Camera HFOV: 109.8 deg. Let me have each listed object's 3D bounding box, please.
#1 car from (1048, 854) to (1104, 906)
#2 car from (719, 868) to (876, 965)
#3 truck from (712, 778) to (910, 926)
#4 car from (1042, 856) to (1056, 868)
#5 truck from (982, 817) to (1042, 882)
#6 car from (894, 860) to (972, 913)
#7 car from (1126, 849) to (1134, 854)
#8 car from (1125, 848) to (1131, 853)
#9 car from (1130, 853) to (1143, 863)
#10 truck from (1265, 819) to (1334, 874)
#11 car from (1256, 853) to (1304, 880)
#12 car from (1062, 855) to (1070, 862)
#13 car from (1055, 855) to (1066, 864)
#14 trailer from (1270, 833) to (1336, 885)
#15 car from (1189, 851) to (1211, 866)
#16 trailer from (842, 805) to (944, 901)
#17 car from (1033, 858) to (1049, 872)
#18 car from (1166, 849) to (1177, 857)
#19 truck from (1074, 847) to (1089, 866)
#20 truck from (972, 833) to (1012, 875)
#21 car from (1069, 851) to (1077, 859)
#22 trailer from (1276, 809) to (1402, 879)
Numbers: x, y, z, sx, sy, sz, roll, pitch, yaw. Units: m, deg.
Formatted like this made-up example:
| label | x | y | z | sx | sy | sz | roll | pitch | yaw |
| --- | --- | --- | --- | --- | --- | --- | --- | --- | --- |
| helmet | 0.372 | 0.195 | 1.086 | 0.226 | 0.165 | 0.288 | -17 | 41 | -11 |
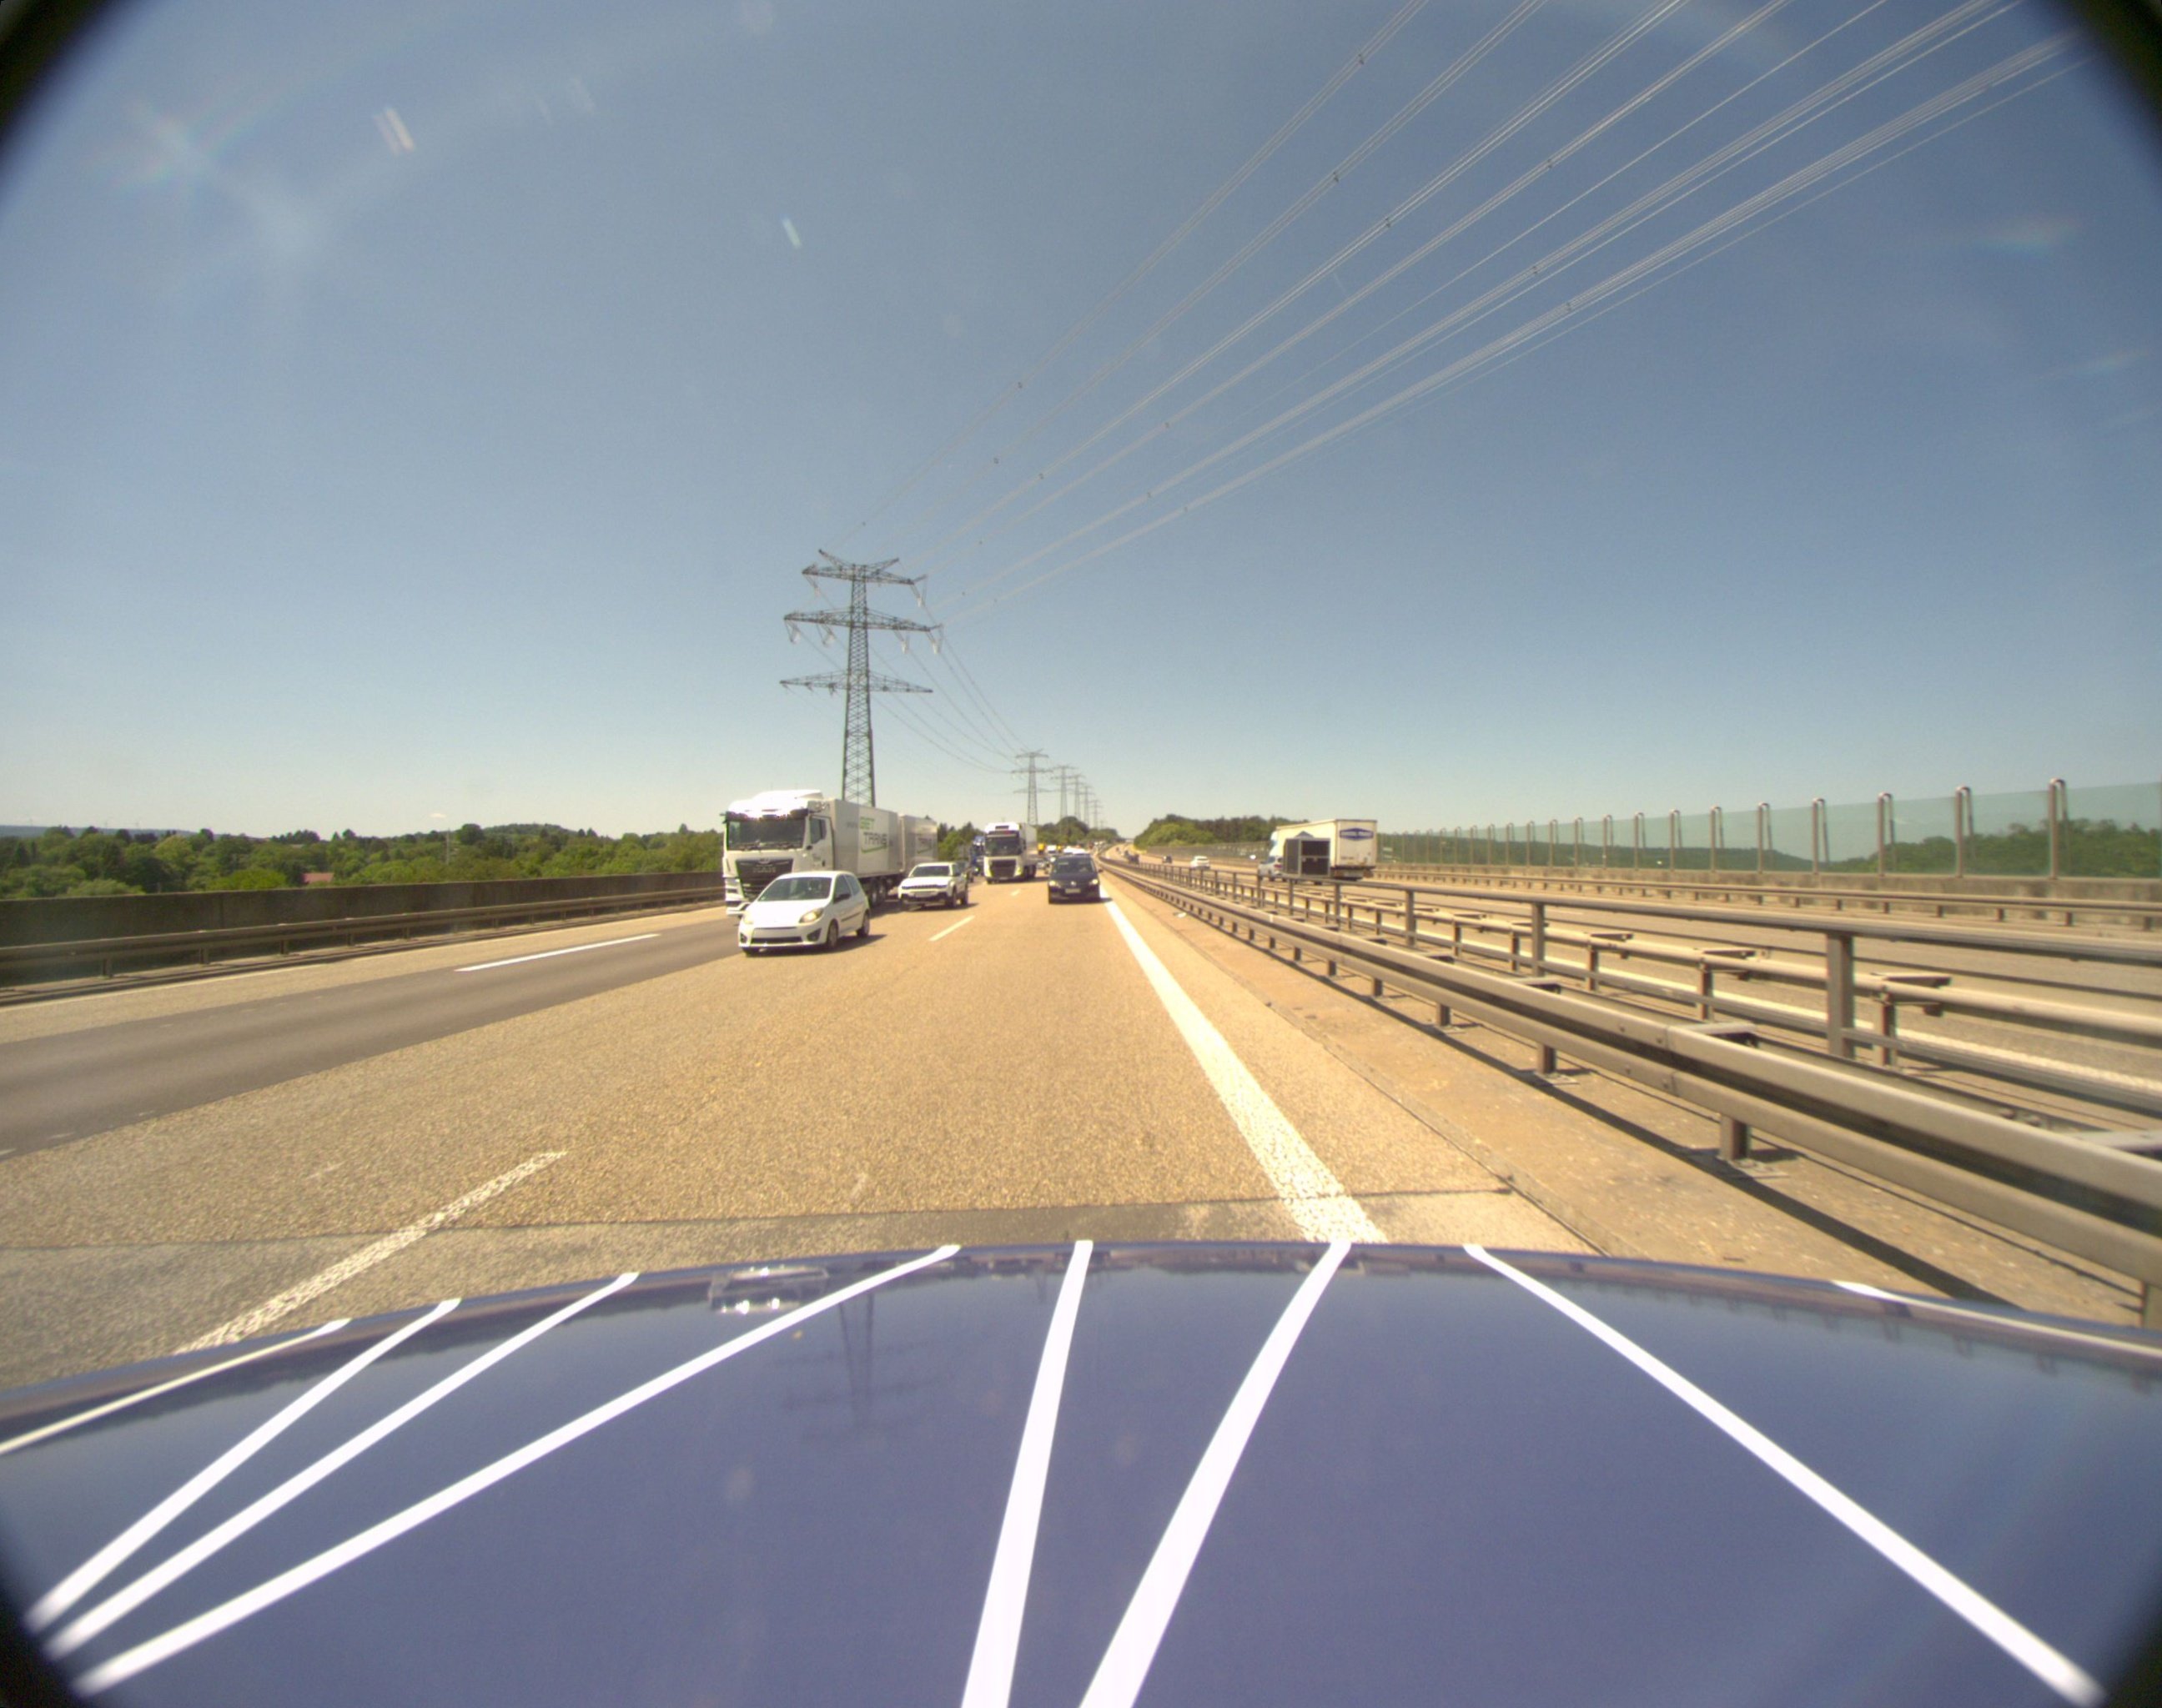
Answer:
| label | x | y | z | sx | sy | sz | roll | pitch | yaw |
| --- | --- | --- | --- | --- | --- | --- | --- | --- | --- |
| car | -0.145 | 0.840 | 26.666 | 1.748 | 1.569 | 3.999 | -2 | 1 | 1 |
| car | -5.402 | 1.119 | 15.032 | 1.660 | 1.501 | 3.825 | -2 | 1 | -1 |
| truck | -8.598 | -0.053 | 26.258 | 2.695 | 3.907 | 11.296 | -2 | 0 | 0 |
| car | -4.644 | 1.193 | 111.407 | 1.821 | 1.569 | 3.999 | -2 | 1 | 0 |
| truck | -4.752 | -0.288 | 55.249 | 2.718 | 4.015 | 14.256 | -2 | 0 | 1 |
| car | -4.923 | 1.040 | 25.731 | 1.776 | 1.521 | 3.851 | -2 | 1 | 1 |
| car | 13.487 | -0.819 | 208.975 | 1.765 | 1.312 | 4.270 | -2 | 1 | 0 |
| car | 15.237 | -1.045 | 245.219 | 1.786 | 1.692 | 4.154 | 1 | 1 | 0 |
| car | 9.546 | 0.675 | 130.496 | 1.796 | 1.563 | 3.999 | -2 | 1 | 0 |
| truck | 17.287 | -0.606 | 60.524 | 4.016 | 4.204 | 4.858 | 0 | 0 | -1 |
| car | 12.589 | 0.762 | 48.379 | 1.875 | 1.616 | 4.628 | 1 | 1 | 0 |
| car | -3.395 | 0.974 | 173.965 | 1.821 | 1.569 | 3.999 | -2 | 1 | 0 |
| car | -3.520 | 0.947 | 131.765 | 1.821 | 1.569 | 3.999 | -2 | 1 | 0 |
| trailer | 12.615 | 0.230 | 43.498 | 2.171 | 2.761 | 5.375 | 1 | 1 | 0 |
| car | 13.442 | 0.479 | 86.172 | 1.753 | 1.686 | 4.384 | 1 | 1 | 0 |
| trailer | -8.604 | -0.036 | 35.814 | 2.752 | 3.918 | 7.773 | -2 | 0 | 0 |
| car | -5.027 | 1.368 | 95.349 | 1.821 | 1.569 | 3.999 | -2 | 1 | 0 |
| car | 17.483 | -0.228 | 147.084 | 1.656 | 1.454 | 3.541 | 0 | 1 | 0 |
| truck | 0.091 | 0.309 | 119.635 | 2.310 | 2.789 | 5.109 | -2 | 1 | 1 |
| truck | -9.041 | -0.044 | 78.480 | 2.841 | 3.858 | 11.272 | -2 | 1 | 0 |
| car | -2.147 | 0.320 | 203.926 | 1.999 | 2.002 | 3.999 | -2 | 1 | 0 |
| trailer | 17.282 | -0.616 | 52.664 | 3.999 | 4.210 | 14.039 | 0 | 0 | 0 |
